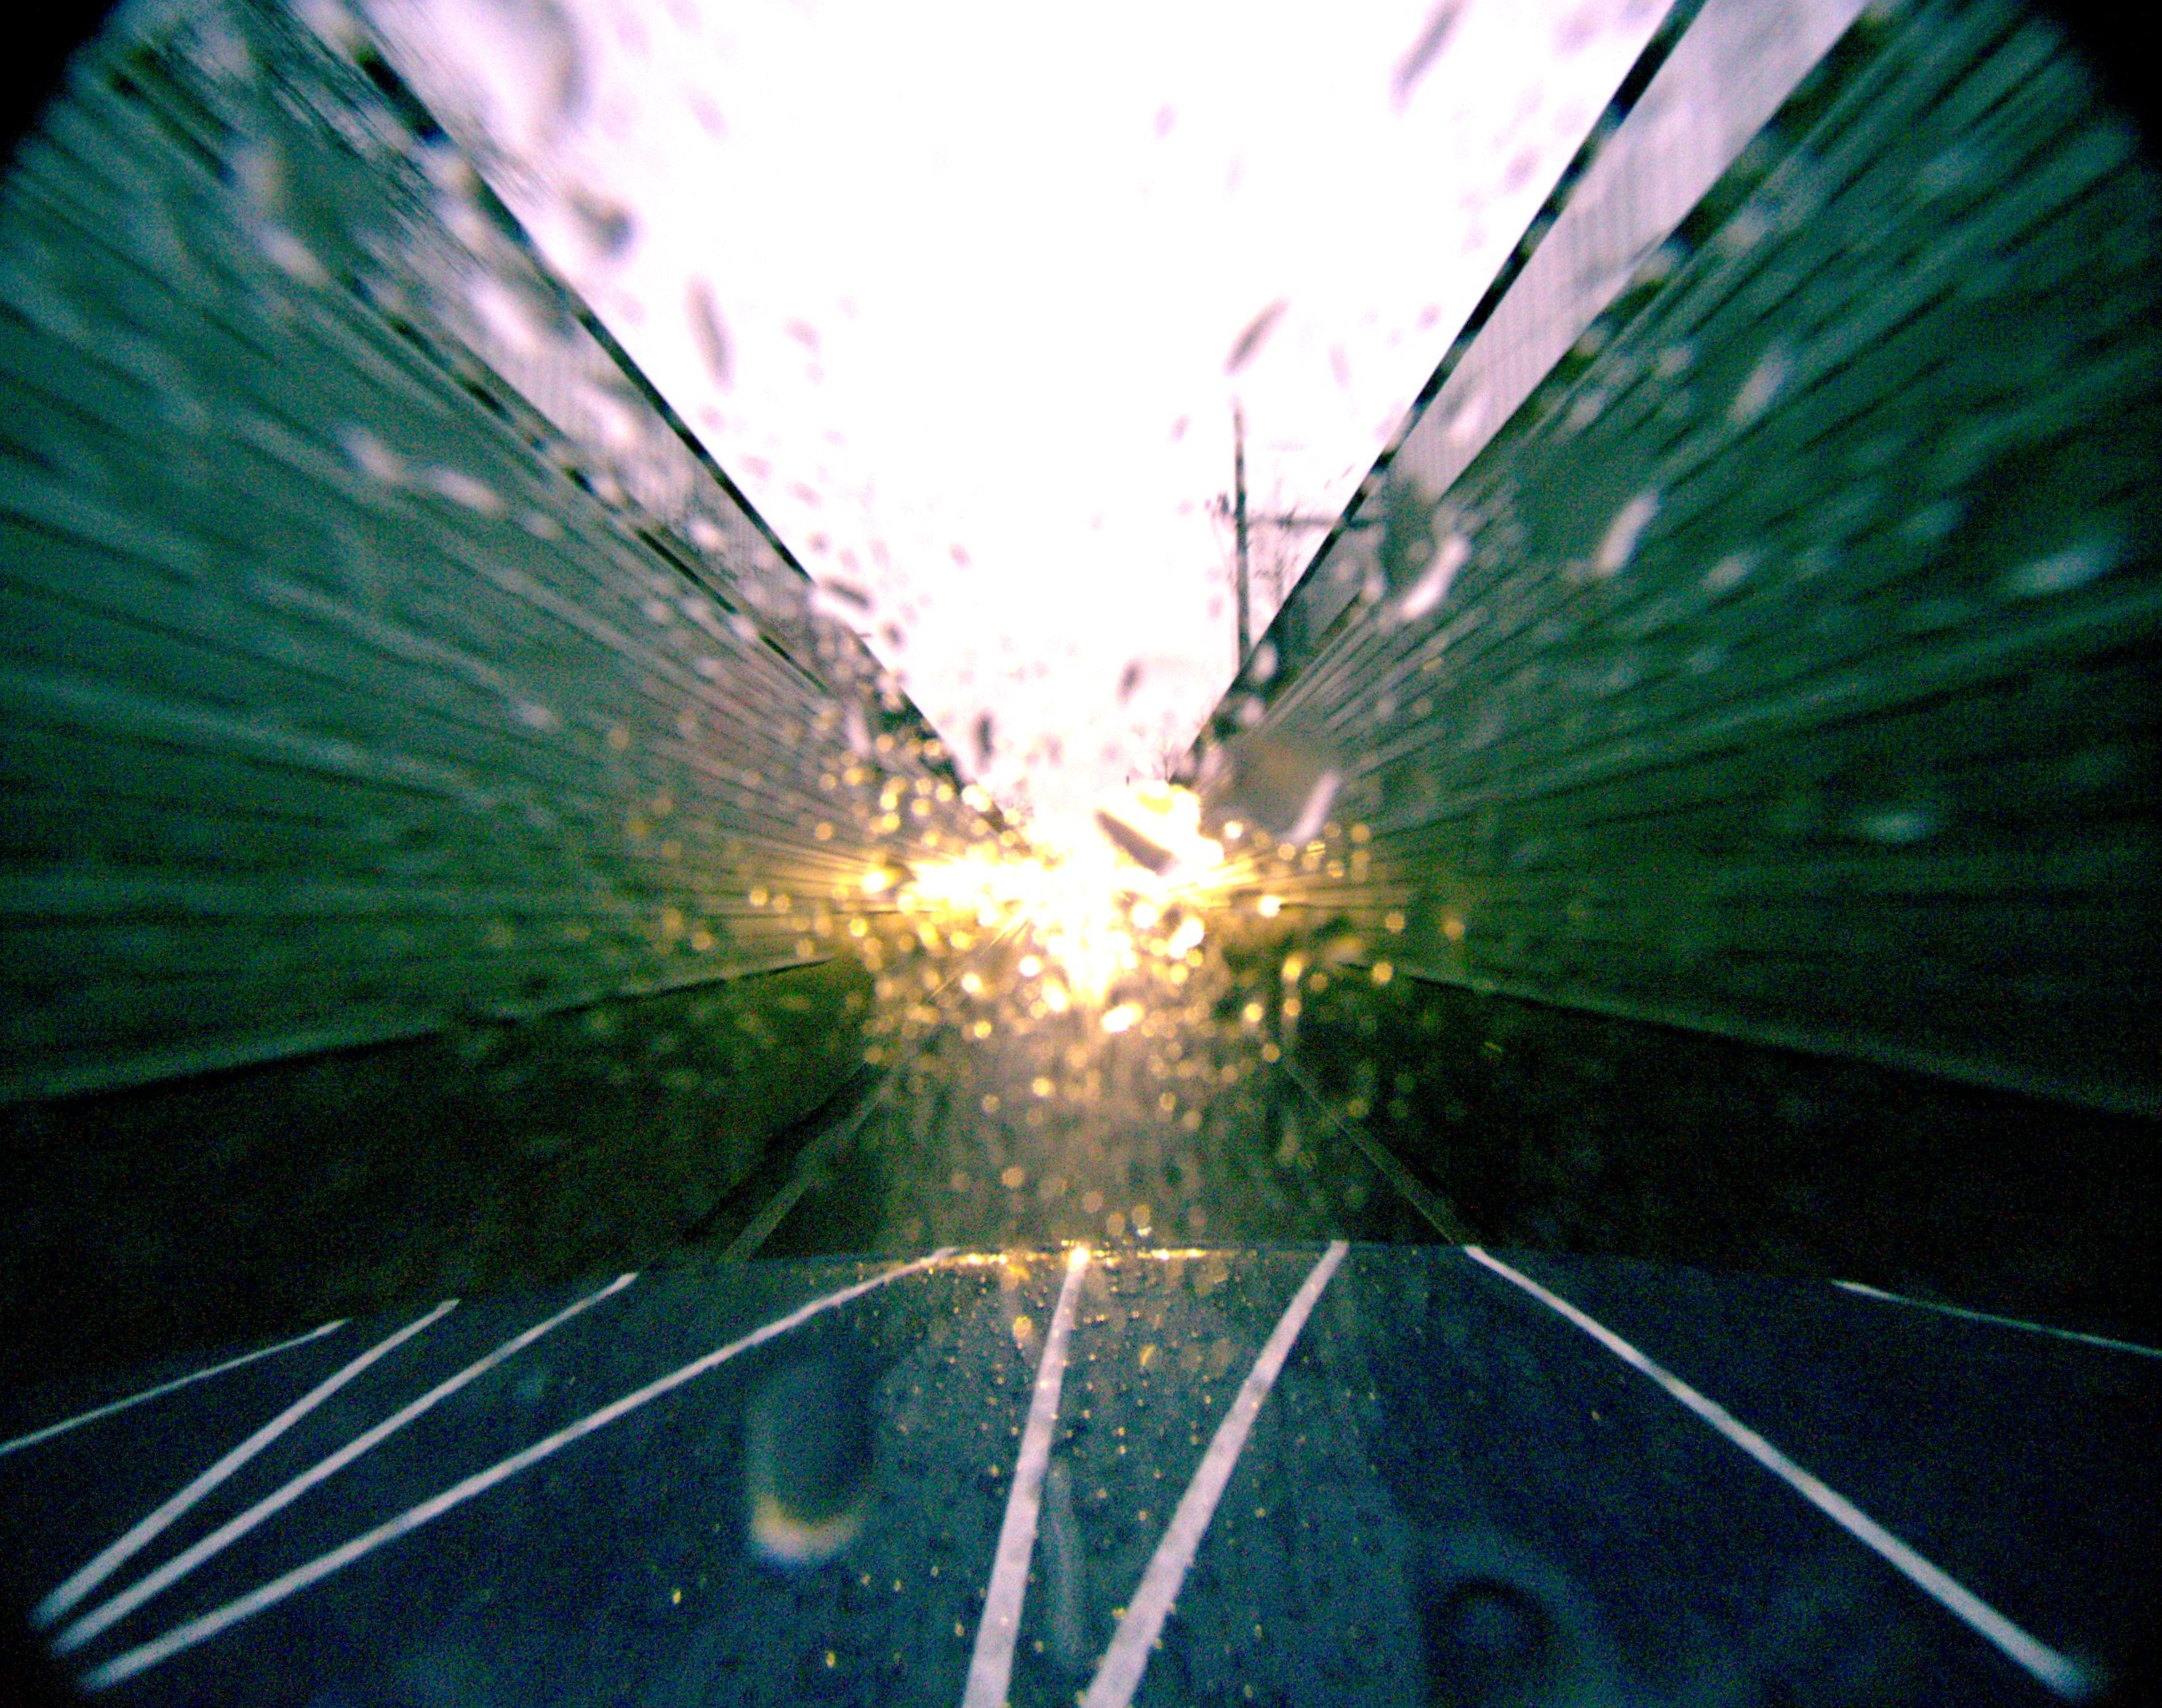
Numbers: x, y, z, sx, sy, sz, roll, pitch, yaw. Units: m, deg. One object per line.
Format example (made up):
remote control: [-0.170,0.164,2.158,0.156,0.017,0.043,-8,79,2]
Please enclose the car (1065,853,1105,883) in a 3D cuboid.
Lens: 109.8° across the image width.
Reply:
car: [0.266,0.834,43.551,2.160,1.488,4.010,-2,-3,1]
